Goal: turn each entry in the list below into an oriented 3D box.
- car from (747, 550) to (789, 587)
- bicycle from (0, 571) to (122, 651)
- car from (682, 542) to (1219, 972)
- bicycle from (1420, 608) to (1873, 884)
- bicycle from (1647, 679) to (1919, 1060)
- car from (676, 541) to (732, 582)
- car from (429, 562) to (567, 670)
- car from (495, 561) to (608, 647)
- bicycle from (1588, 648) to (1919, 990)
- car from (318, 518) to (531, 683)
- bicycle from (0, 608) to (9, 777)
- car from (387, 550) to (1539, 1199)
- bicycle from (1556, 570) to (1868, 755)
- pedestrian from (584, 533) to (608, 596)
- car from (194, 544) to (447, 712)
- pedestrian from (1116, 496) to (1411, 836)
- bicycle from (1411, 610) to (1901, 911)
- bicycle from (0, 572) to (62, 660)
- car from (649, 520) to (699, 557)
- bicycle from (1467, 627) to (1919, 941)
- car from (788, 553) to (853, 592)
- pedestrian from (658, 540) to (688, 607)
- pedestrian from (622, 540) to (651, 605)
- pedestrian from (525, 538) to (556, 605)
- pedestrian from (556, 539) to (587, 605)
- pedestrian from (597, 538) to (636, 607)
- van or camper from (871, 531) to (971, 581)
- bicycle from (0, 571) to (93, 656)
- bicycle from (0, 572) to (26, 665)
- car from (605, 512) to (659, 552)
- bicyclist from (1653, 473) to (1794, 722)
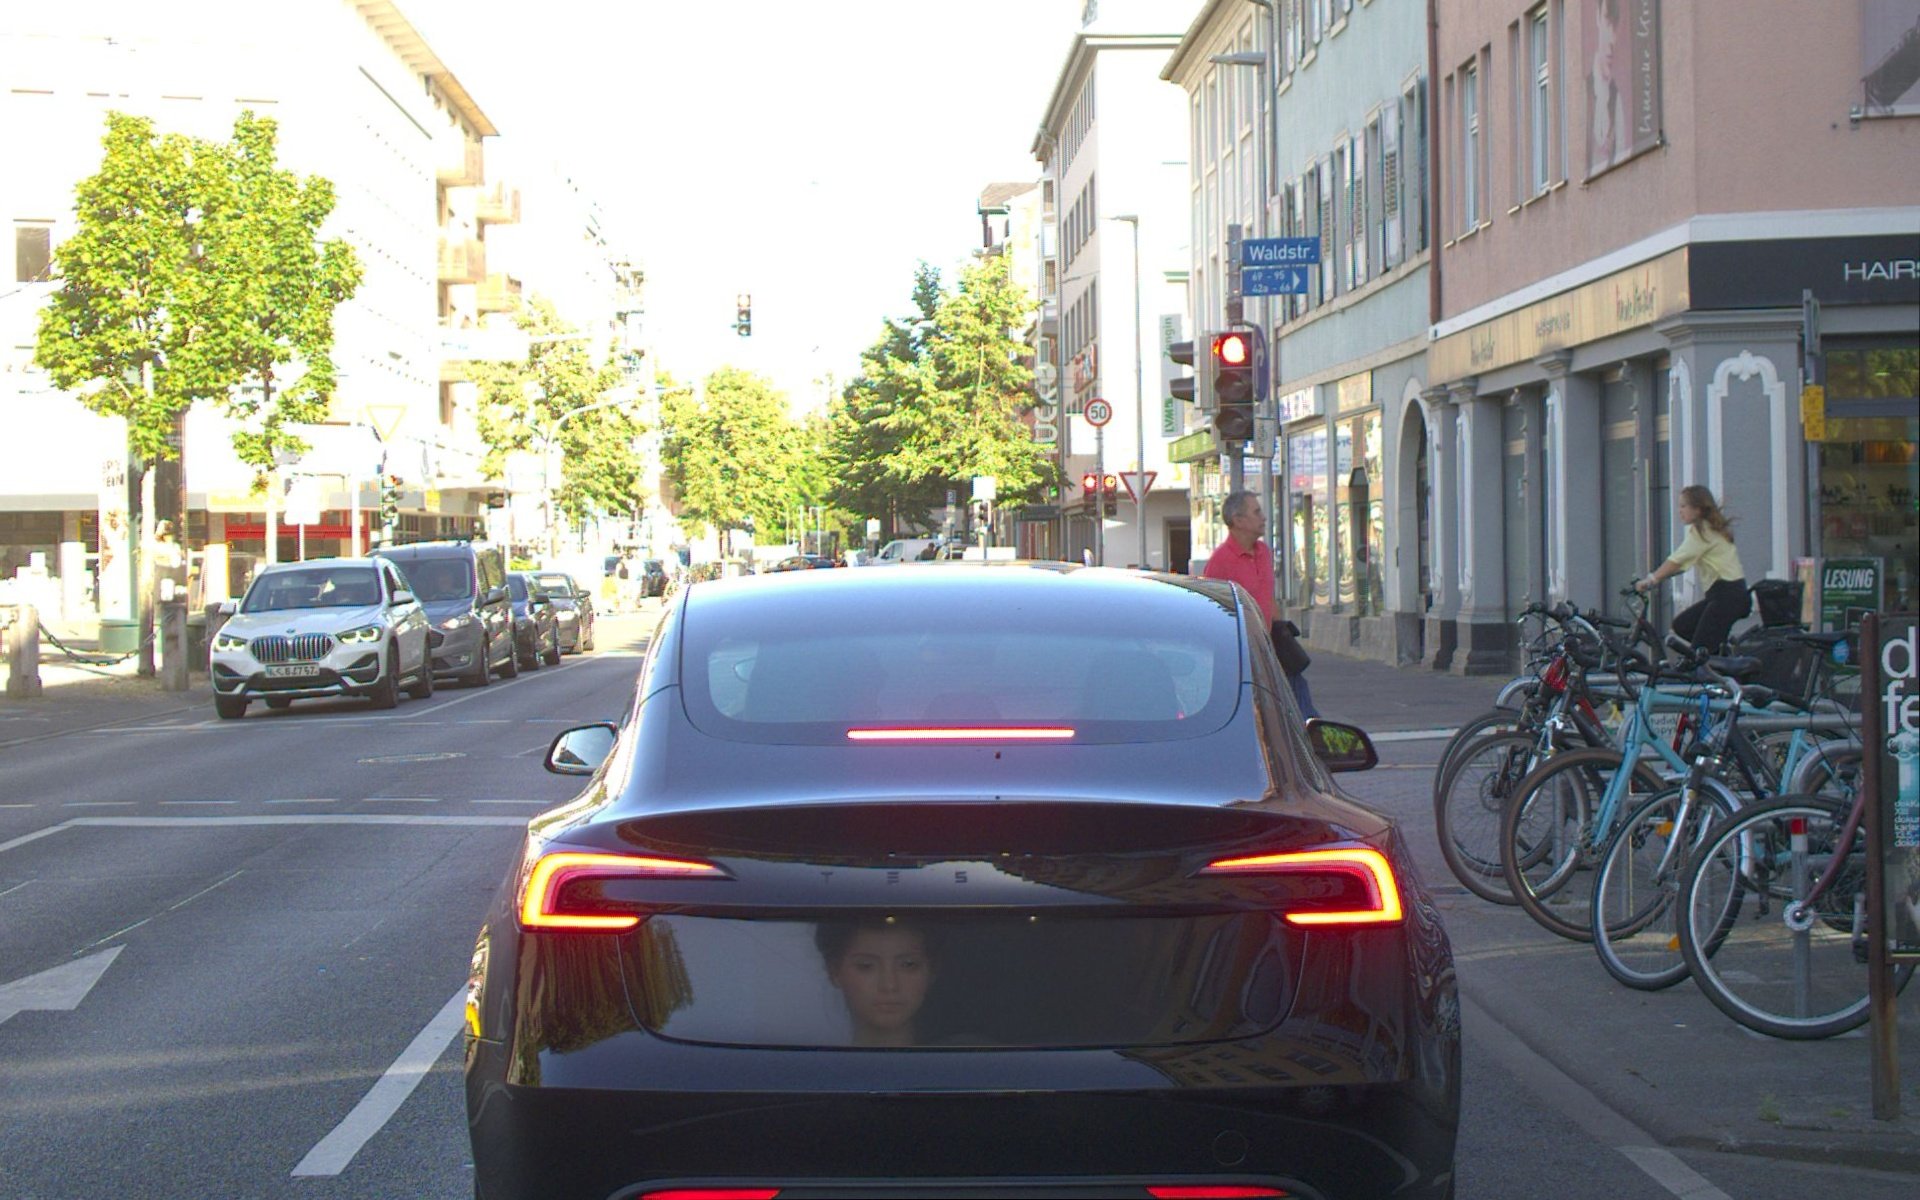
[{"bbox_3d":[-10.446,-1.742,187.150,2.132,1.963,4.134,0,1,-1],"label":"car"},{"bbox_3d":[-14.695,0.165,54.581,2.542,1.247,0.943,1,0,-3],"label":"bicycle"},{"bbox_3d":[-0.059,0.525,14.214,1.850,1.476,4.452,1,1,-1],"label":"car"},{"bbox_3d":[2.924,0.613,14.753,1.813,1.148,0.653,0,1,1],"label":"bicycle"},{"bbox_3d":[3.027,0.760,10.067,1.882,1.040,0.653,-1,1,1],"label":"bicycle"},{"bbox_3d":[-12.398,-1.871,166.467,2.414,1.963,4.678,0,1,-1],"label":"car"},{"bbox_3d":[-6.654,0.207,49.813,1.461,1.425,3.606,-4,1,-1],"label":"car"},{"bbox_3d":[-6.884,0.040,58.211,1.693,1.385,3.916,1,1,-4],"label":"car"},{"bbox_3d":[3.001,0.693,11.138,1.813,1.056,0.653,0,1,1],"label":"bicycle"},{"bbox_3d":[-6.572,-0.034,42.679,1.945,1.940,4.820,0,1,-1],"label":"car"},{"bbox_3d":[-7.941,0.691,25.080,1.997,1.219,0.629,-2,-2,25],"label":"bicycle"},{"bbox_3d":[-0.023,0.629,7.790,1.850,1.442,4.452,1,1,-1],"label":"car"},{"bbox_3d":[5.007,0.418,22.890,1.955,1.154,0.575,-2,0,16],"label":"bicycle"},{"bbox_3d":[-10.998,-1.073,103.894,0.695,1.861,0.659,1,0,-5],"label":"pedestrian"},{"bbox_3d":[-6.687,0.256,36.356,1.825,1.559,4.301,-4,1,-1],"label":"car"},{"bbox_3d":[1.598,0.324,18.116,1.112,1.714,1.059,1,1,42],"label":"pedestrian"},{"bbox_3d":[2.732,0.621,13.618,1.813,1.148,0.653,0,1,1],"label":"bicycle"},{"bbox_3d":[-14.488,0.219,49.881,2.662,1.255,0.943,1,0,-3],"label":"bicycle"},{"bbox_3d":[-15.653,-3.357,188.297,2.275,2.007,4.717,1,1,1],"label":"car"},{"bbox_3d":[2.801,0.657,12.545,1.813,1.098,0.653,0,1,1],"label":"bicycle"},{"bbox_3d":[-6.472,-1.293,159.112,2.034,1.782,4.007,0,1,-18],"label":"car"},{"bbox_3d":[-8.090,-0.758,96.949,0.774,1.861,1.009,1,0,-7],"label":"pedestrian"},{"bbox_3d":[-9.335,-0.798,99.253,0.694,1.861,0.910,1,0,-14],"label":"pedestrian"},{"bbox_3d":[-11.823,-0.809,96.861,0.732,1.861,0.791,1,0,-17],"label":"pedestrian"},{"bbox_3d":[-10.990,-0.802,97.275,0.732,1.861,0.791,1,0,-17],"label":"pedestrian"},{"bbox_3d":[-9.448,-0.753,94.571,0.734,1.861,0.789,1,0,28],"label":"pedestrian"},{"bbox_3d":[-1.904,-2.135,167.565,4.850,2.430,1.851,0,1,-1],"label":"van or camper"},{"bbox_3d":[-14.534,0.192,52.156,2.542,1.247,0.943,1,0,-3],"label":"bicycle"},{"bbox_3d":[-14.487,0.237,47.562,2.875,1.266,0.943,1,0,-3],"label":"bicycle"},{"bbox_3d":[-17.129,-3.537,179.657,2.275,2.007,4.717,1,1,1],"label":"car"},{"bbox_3d":[5.083,-0.020,22.865,0.826,1.609,0.579,-2,1,17],"label":"bicyclist"}]
